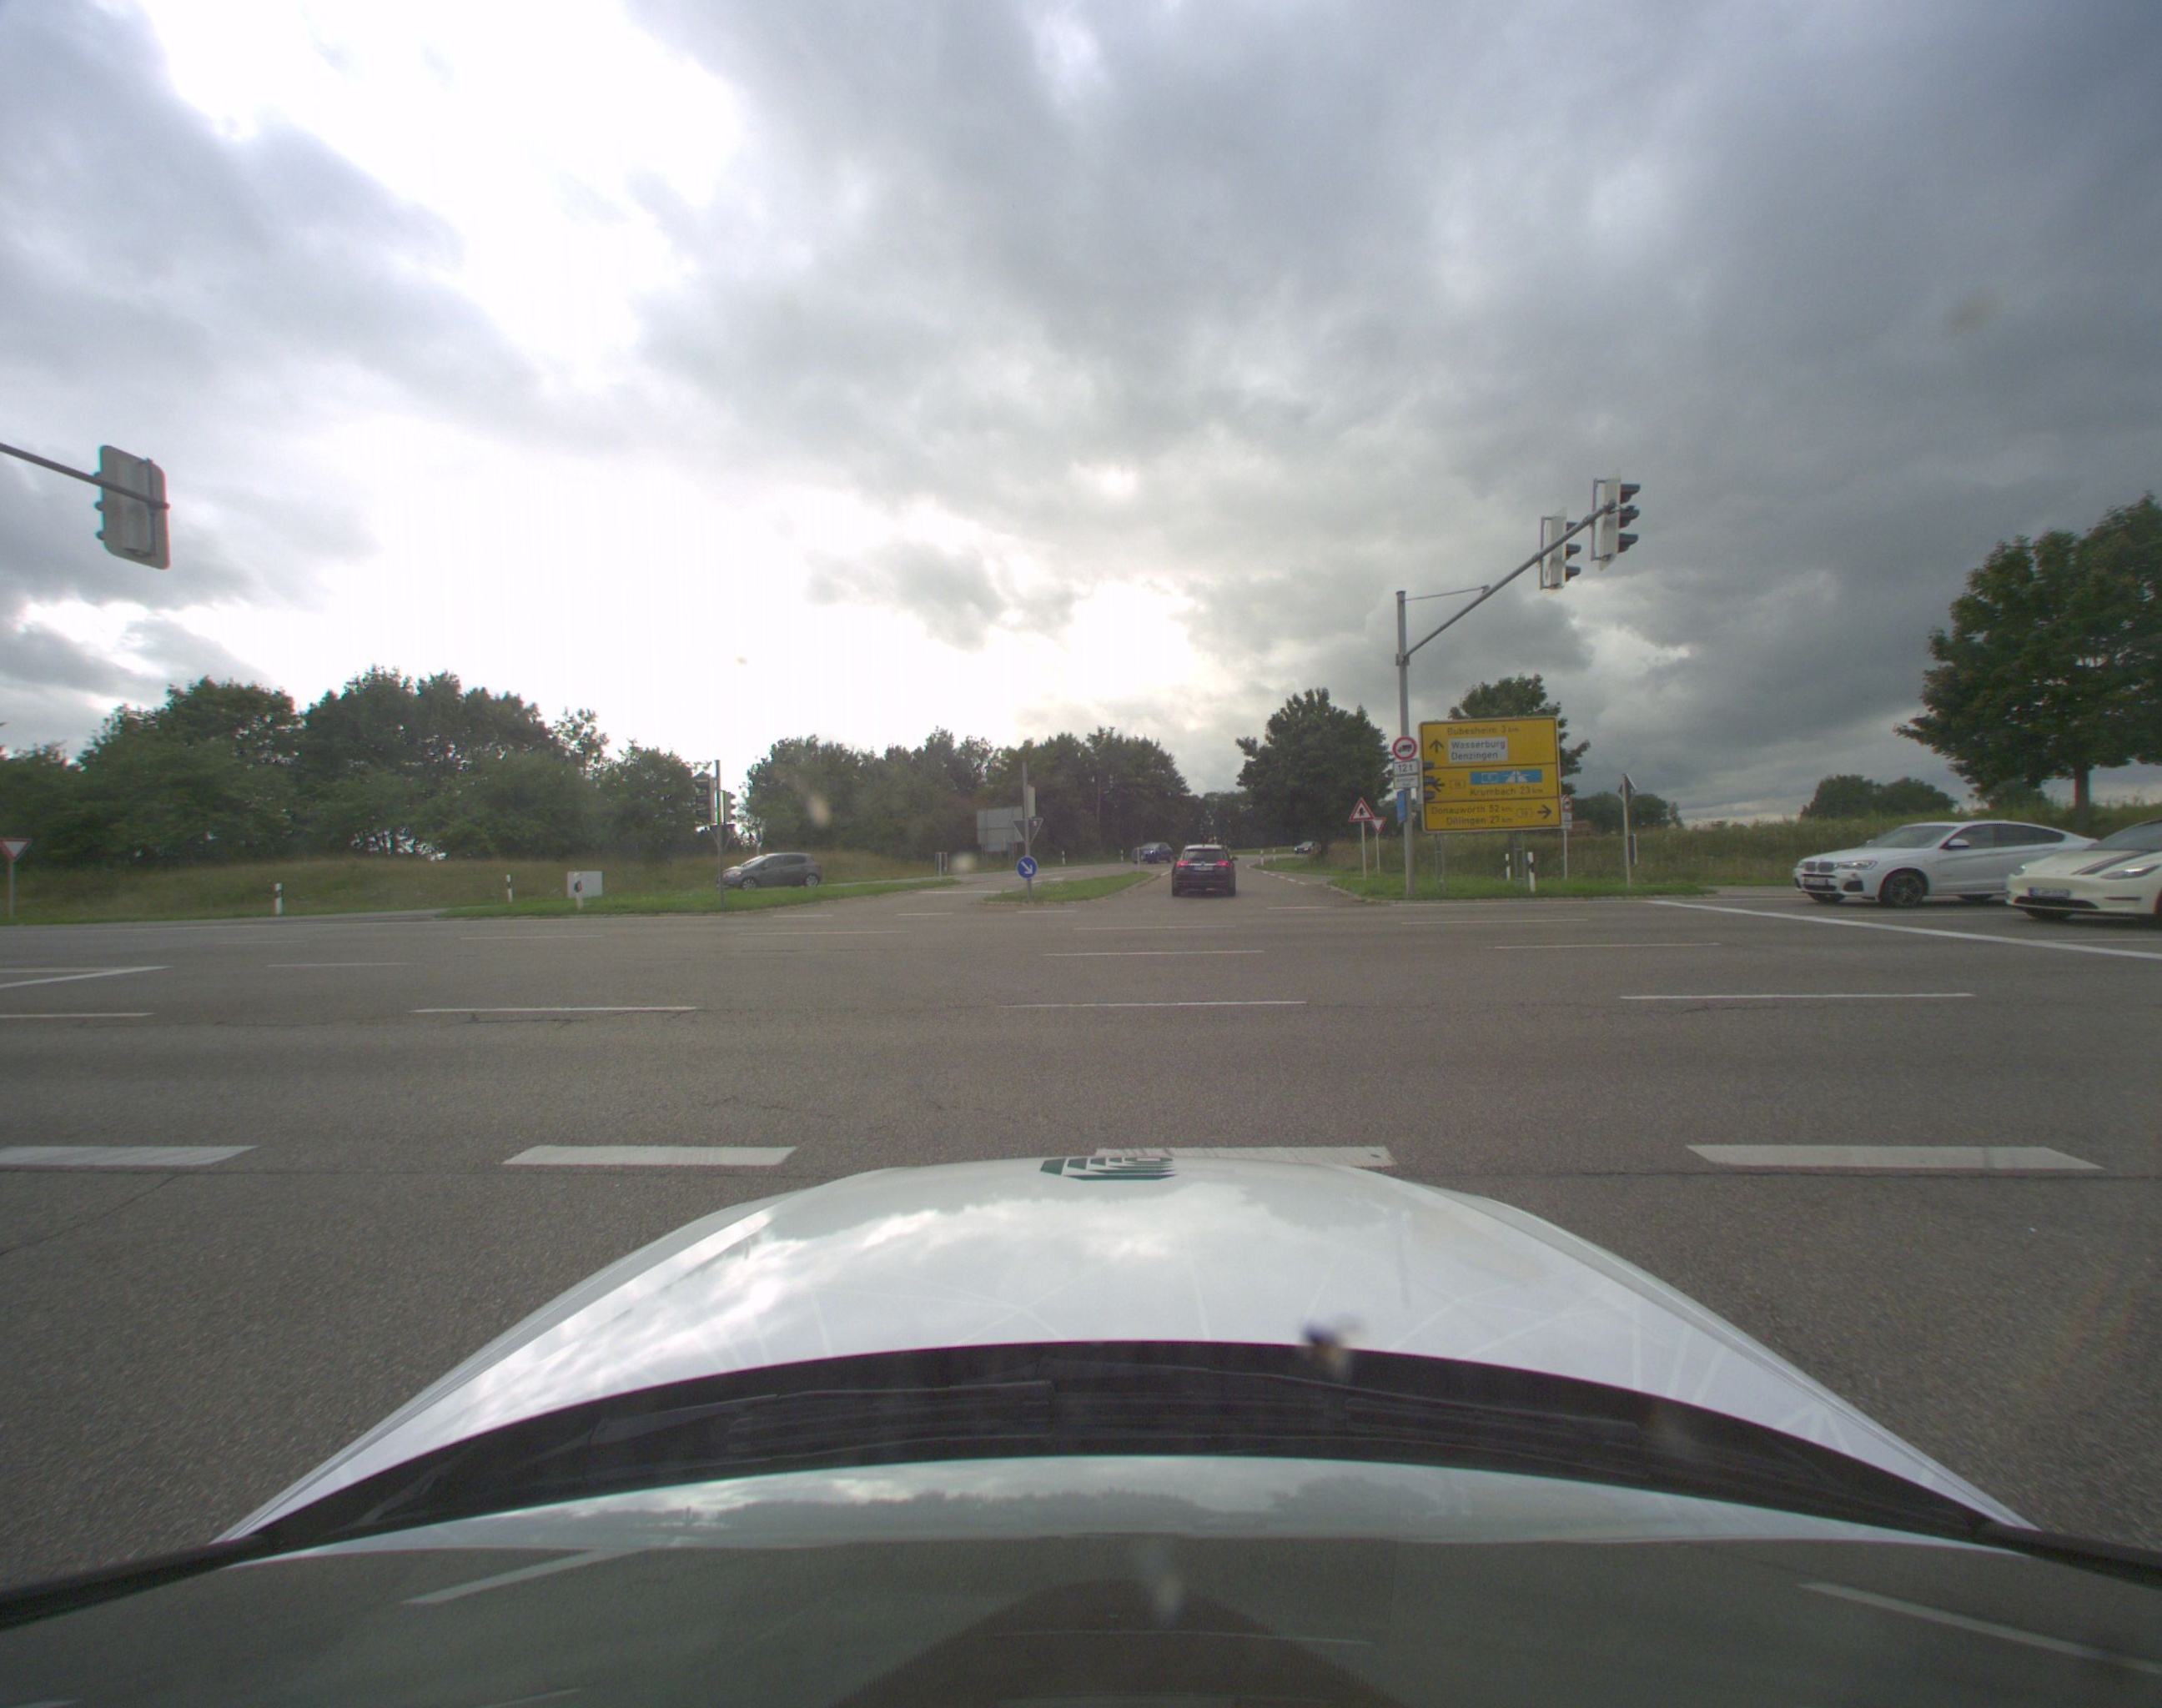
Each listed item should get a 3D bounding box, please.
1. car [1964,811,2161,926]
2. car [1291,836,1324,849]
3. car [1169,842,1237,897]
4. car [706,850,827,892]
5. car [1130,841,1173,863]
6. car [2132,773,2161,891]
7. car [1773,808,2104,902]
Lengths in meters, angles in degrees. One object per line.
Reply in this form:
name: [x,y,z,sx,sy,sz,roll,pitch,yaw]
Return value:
car: [16.705,0.163,12.116,4.711,1.565,2.002,-2,-1,4]
car: [26.196,-1.344,94.091,1.974,1.503,4.697,-1,0,40]
car: [3.653,0.427,24.353,1.797,1.450,4.284,-2,0,9]
car: [-12.455,0.635,32.377,4.023,1.535,1.975,-1,-1,-44]
car: [5.454,-0.187,62.478,1.977,1.570,4.781,-1,0,20]
car: [24.921,-0.535,15.812,5.468,2.442,2.402,-2,-1,5]
car: [16.668,0.037,16.059,4.242,1.629,2.002,-2,-1,4]
